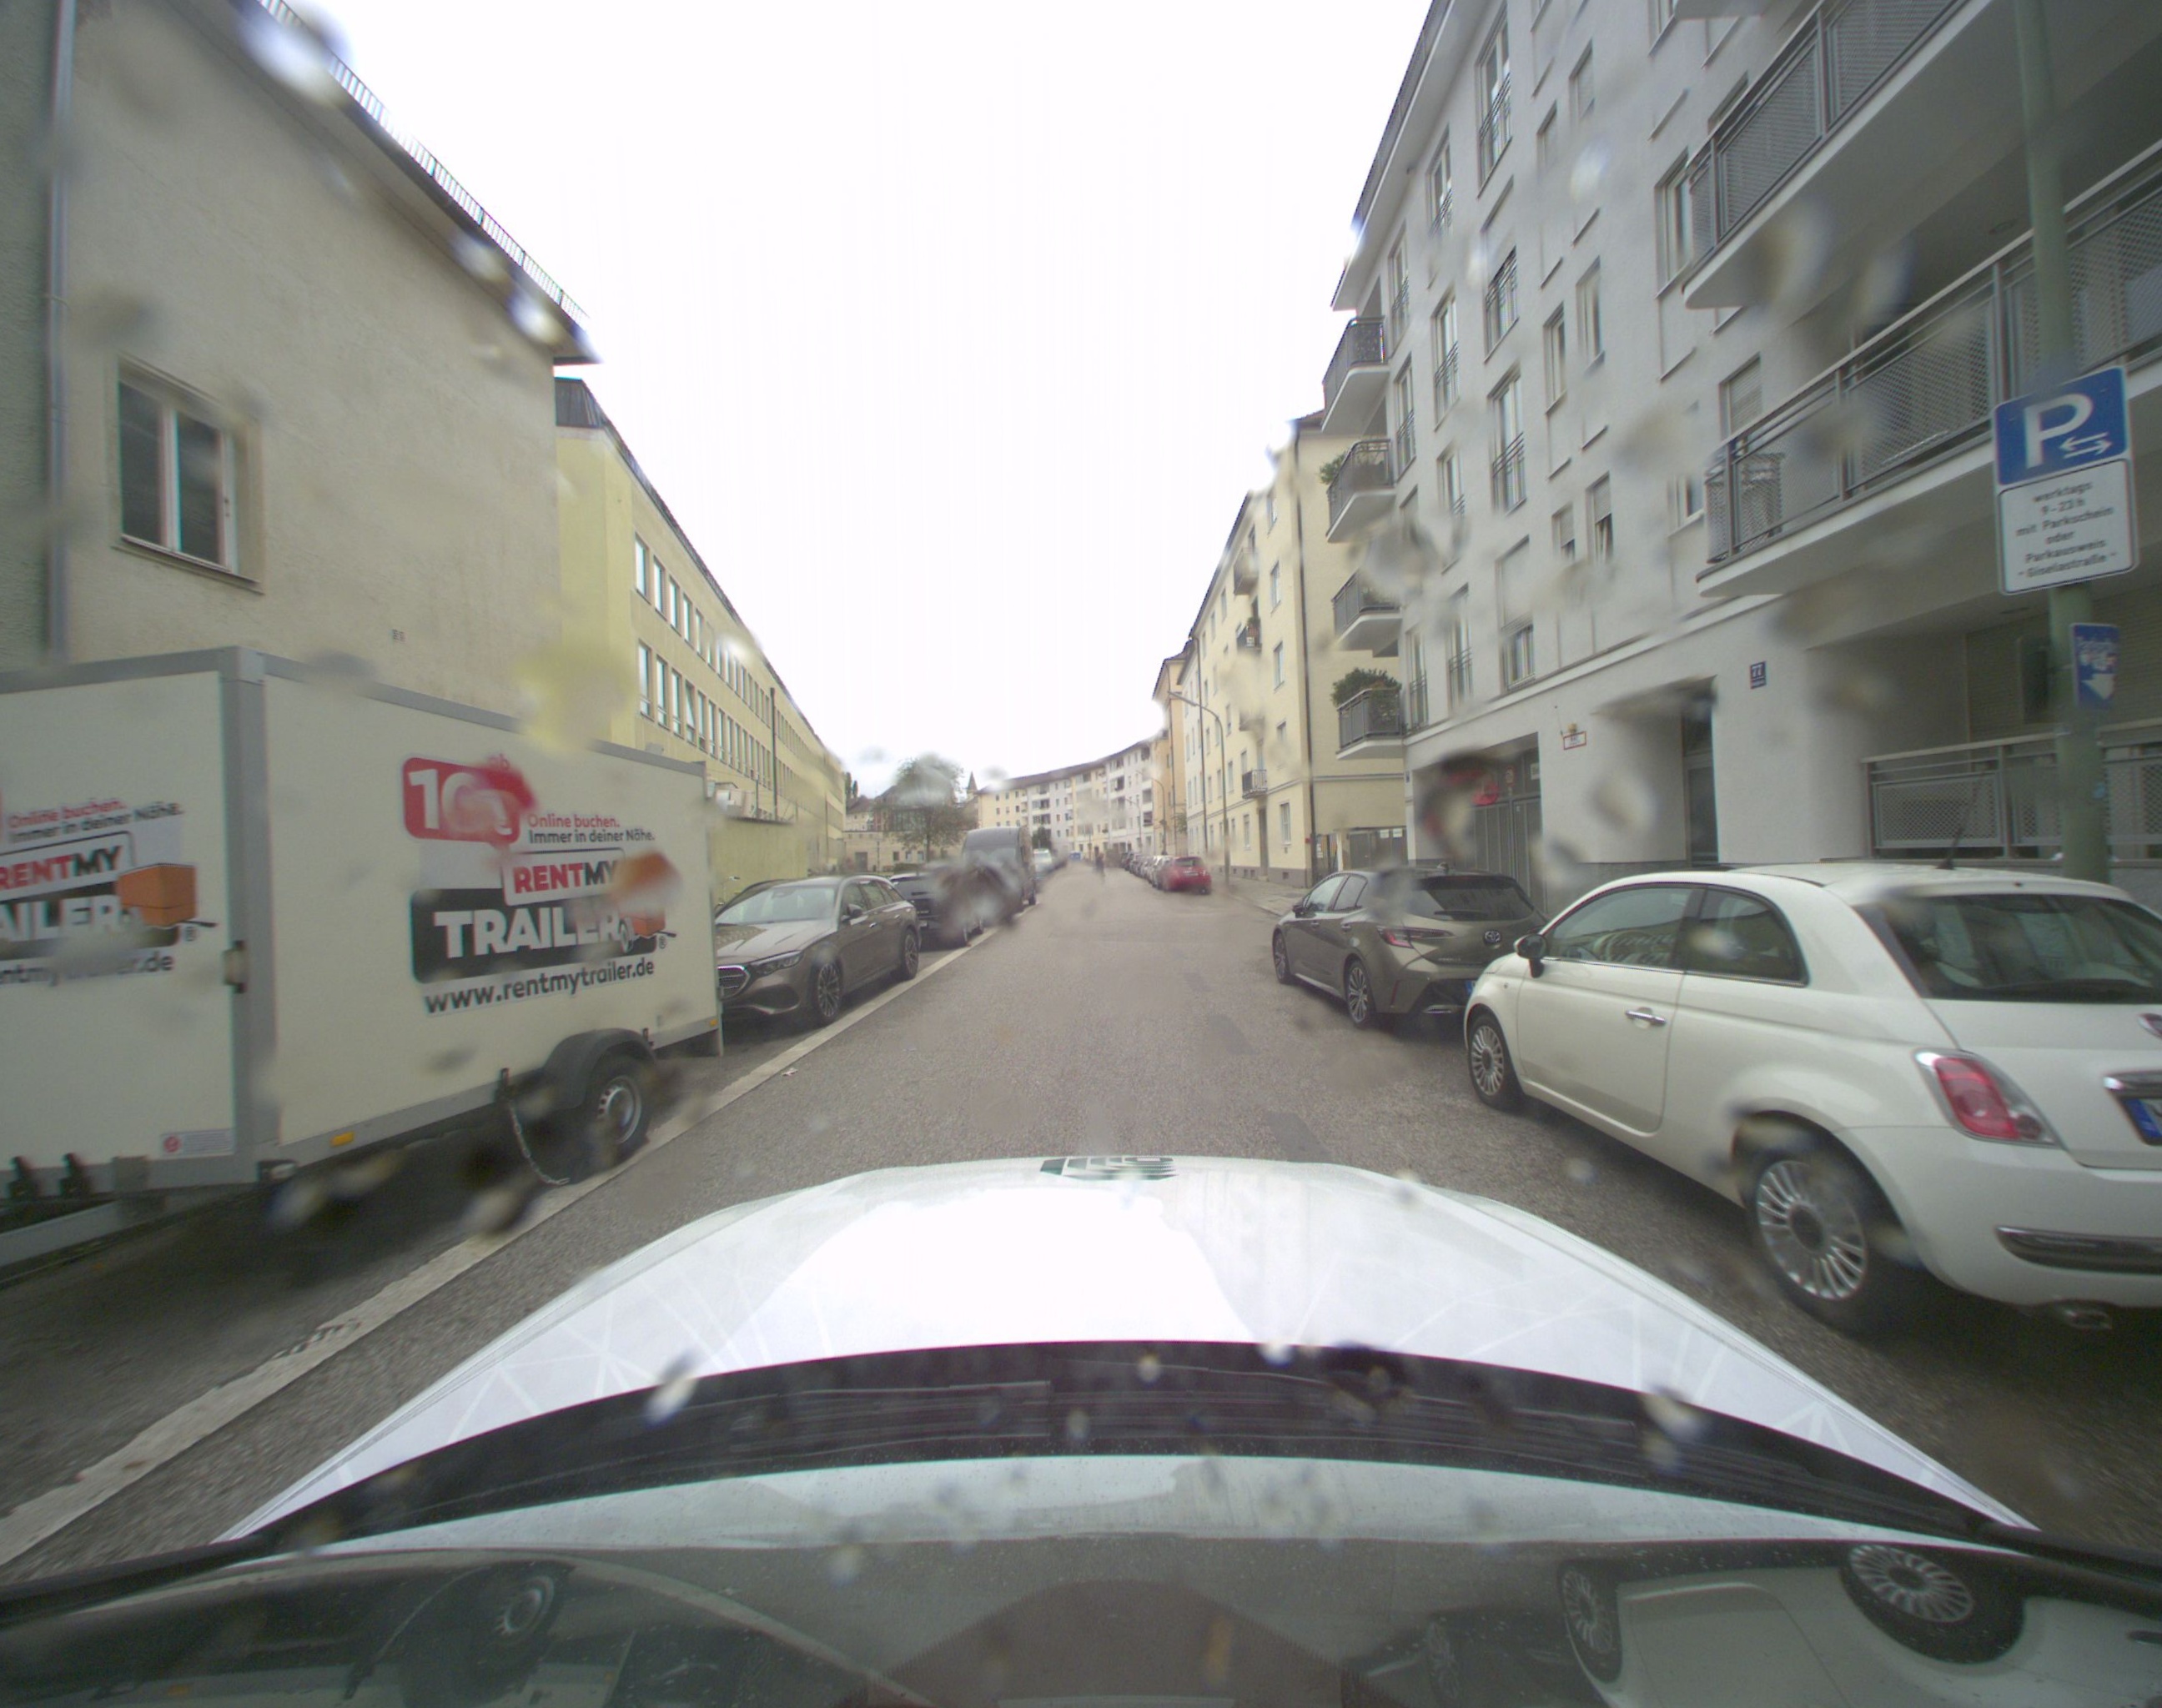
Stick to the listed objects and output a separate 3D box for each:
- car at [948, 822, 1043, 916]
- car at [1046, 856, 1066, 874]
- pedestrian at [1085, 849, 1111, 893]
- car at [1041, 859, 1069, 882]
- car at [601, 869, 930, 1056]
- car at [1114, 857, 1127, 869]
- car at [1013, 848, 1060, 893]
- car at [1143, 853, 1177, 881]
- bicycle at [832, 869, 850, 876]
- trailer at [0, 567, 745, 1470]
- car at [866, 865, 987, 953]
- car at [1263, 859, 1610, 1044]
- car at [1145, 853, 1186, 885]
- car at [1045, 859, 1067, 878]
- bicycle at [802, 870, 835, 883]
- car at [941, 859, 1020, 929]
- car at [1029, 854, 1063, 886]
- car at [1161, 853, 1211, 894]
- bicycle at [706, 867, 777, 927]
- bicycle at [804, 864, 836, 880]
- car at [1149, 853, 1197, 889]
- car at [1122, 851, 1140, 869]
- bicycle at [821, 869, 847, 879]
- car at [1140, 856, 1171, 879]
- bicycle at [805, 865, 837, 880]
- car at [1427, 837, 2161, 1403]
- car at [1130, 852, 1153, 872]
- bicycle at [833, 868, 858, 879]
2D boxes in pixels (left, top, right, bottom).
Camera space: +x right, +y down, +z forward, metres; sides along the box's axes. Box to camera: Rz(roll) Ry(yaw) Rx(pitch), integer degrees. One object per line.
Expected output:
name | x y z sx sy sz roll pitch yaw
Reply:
car | -2.609 0.404 26.249 2.079 2.636 5.382 -2 0 3
car | -2.130 0.971 70.786 1.619 1.419 3.980 -3 0 -1
pedestrian | 0.669 0.674 32.340 0.664 1.728 0.801 -3 -3 45
car | -1.740 1.074 54.925 1.618 1.412 3.799 -4 0 1
car | -3.315 1.038 9.701 1.758 1.538 4.546 -4 -1 4
car | 4.302 0.953 89.695 1.268 1.299 2.797 -2 0 0
car | -2.074 0.749 39.152 1.877 1.931 4.600 -4 0 0
car | 4.660 0.744 48.266 1.594 1.491 3.798 -2 0 0
bicycle | -24.606 1.889 83.668 1.741 0.714 0.611 -2 -1 -17
trailer | -3.663 0.473 4.030 1.701 2.461 4.392 -4 0 5
car | -2.957 0.998 16.365 1.695 1.445 3.824 -1 0 -1
car | 3.276 0.795 8.492 1.758 1.408 4.077 -2 -1 -1
car | 4.451 0.748 43.335 1.687 1.491 4.283 -3 0 1
car | -2.007 1.149 65.316 1.619 1.419 3.979 -3 0 -2
bicycle | -18.768 1.610 58.260 2.211 0.835 0.492 -2 -1 -17
car | -2.507 0.947 21.005 1.581 1.538 3.542 -2 0 -1
car | -2.091 0.936 49.641 1.696 1.691 4.028 -4 0 1
car | 4.145 0.741 32.548 1.589 1.509 3.802 -2 0 2
bicycle | -7.326 0.892 17.640 0.674 1.192 1.779 -1 0 3
bicycle | -20.186 1.391 62.937 2.250 1.168 1.042 -2 0 -14
car | 4.202 0.771 37.687 1.687 1.491 4.343 -3 -1 1
car | 4.788 0.559 77.737 1.469 1.641 4.001 -1 0 0
bicycle | -22.090 1.795 72.911 2.211 0.835 0.492 -2 -1 -17
car | 4.876 0.898 53.435 1.687 1.432 3.944 -1 -1 1
bicycle | -19.284 1.370 60.376 2.211 1.037 0.492 -2 -1 -17
car | 3.170 0.725 3.978 1.514 1.530 3.527 -1 0 1
car | 5.024 0.676 67.858 1.585 1.582 4.299 -1 0 0
bicycle | -22.095 1.806 76.509 2.211 0.896 0.644 -2 -1 -17
